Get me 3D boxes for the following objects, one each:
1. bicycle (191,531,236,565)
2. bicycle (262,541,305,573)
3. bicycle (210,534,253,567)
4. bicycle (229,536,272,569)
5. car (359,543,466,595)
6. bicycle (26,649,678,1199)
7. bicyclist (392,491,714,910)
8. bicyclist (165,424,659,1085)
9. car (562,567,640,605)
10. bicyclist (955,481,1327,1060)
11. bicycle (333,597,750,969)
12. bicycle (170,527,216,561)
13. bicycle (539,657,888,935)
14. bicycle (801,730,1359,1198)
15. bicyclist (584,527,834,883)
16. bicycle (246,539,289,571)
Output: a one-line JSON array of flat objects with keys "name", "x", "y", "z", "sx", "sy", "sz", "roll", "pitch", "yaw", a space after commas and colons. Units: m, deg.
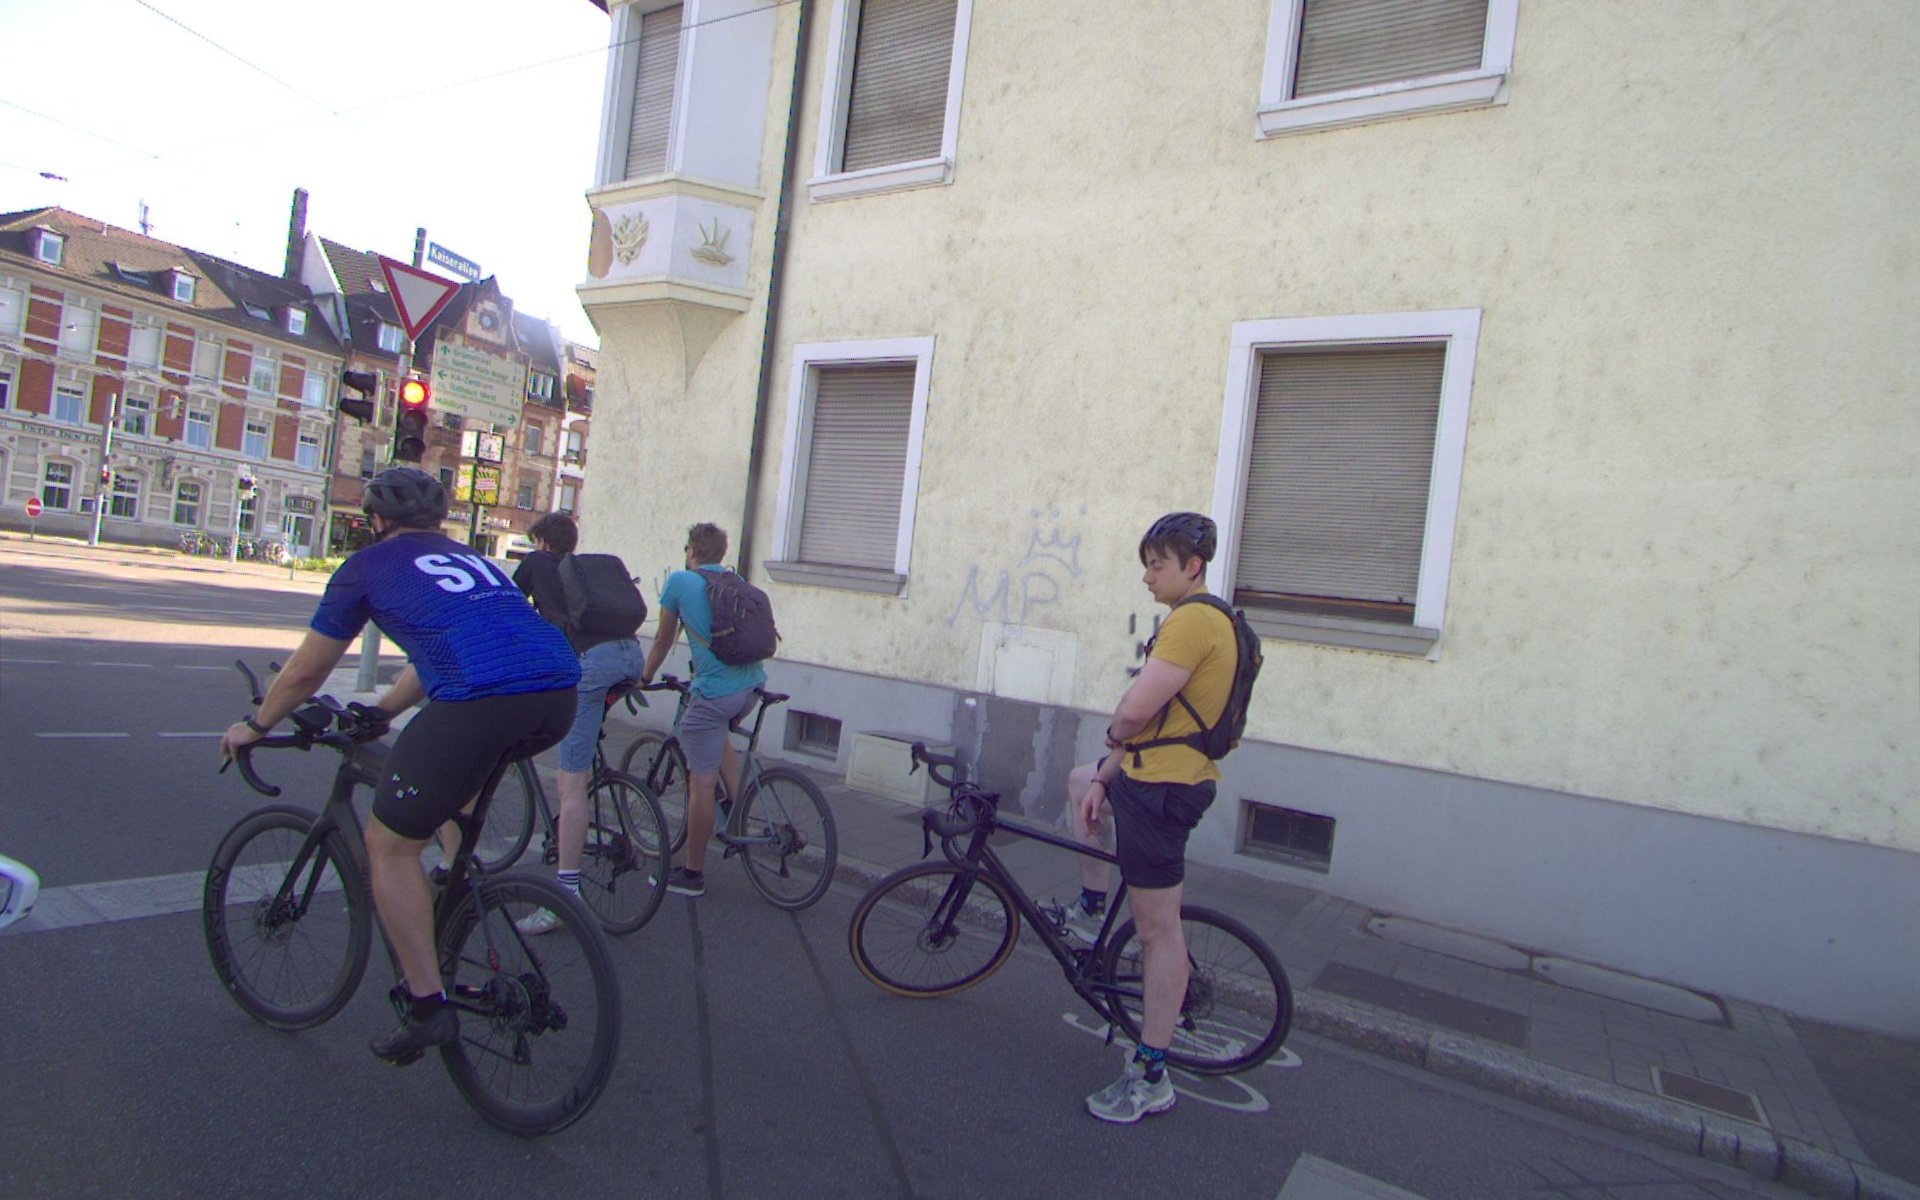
[{"name": "bicycle", "x": -34.197, "y": -2.391, "z": 46.073, "sx": 2.618, "sy": 1.301, "sz": 0.693, "roll": 6, "pitch": -1, "yaw": 33}, {"name": "bicycle", "x": -32.678, "y": -2.085, "z": 48.589, "sx": 2.618, "sy": 1.301, "sz": 0.629, "roll": 6, "pitch": -1, "yaw": 33}, {"name": "bicycle", "x": -33.831, "y": -2.321, "z": 46.698, "sx": 2.618, "sy": 1.301, "sz": 0.629, "roll": 6, "pitch": -1, "yaw": 33}, {"name": "bicycle", "x": -33.415, "y": -2.230, "z": 47.370, "sx": 2.618, "sy": 1.301, "sz": 0.629, "roll": 6, "pitch": -1, "yaw": 33}, {"name": "car", "x": -25.465, "y": -1.435, "z": 46.913, "sx": 1.967, "sy": 1.798, "sz": 3.790, "roll": 6, "pitch": -2, "yaw": 31}, {"name": "bicycle", "x": -1.754, "y": 0.804, "z": 2.894, "sx": 1.671, "sy": 1.097, "sz": 0.628, "roll": 7, "pitch": -1, "yaw": 22}, {"name": "bicyclist", "x": -1.809, "y": 0.409, "z": 4.526, "sx": 0.868, "sy": 1.625, "sz": 0.807, "roll": 7, "pitch": -1, "yaw": 30}, {"name": "bicyclist", "x": -1.511, "y": 0.360, "z": 2.830, "sx": 0.867, "sy": 1.512, "sz": 0.641, "roll": 9, "pitch": 0, "yaw": 22}, {"name": "car", "x": -23.243, "y": -0.884, "z": 65.293, "sx": 1.967, "sy": 1.798, "sz": 4.374, "roll": 6, "pitch": -2, "yaw": 31}, {"name": "bicyclist", "x": 0.658, "y": 0.511, "z": 3.528, "sx": 0.869, "sy": 1.682, "sz": 0.807, "roll": 6, "pitch": -1, "yaw": 32}, {"name": "bicycle", "x": -1.905, "y": 0.724, "z": 4.535, "sx": 1.674, "sy": 1.251, "sz": 0.756, "roll": 6, "pitch": -1, "yaw": 30}, {"name": "bicycle", "x": -34.597, "y": -2.536, "z": 45.369, "sx": 2.618, "sy": 1.301, "sz": 0.693, "roll": 6, "pitch": -1, "yaw": 33}, {"name": "bicycle", "x": -1.322, "y": 0.941, "z": 5.264, "sx": 1.742, "sy": 1.043, "sz": 0.650, "roll": 6, "pitch": -1, "yaw": 33}, {"name": "bicycle", "x": 0.393, "y": 1.130, "z": 3.639, "sx": 1.751, "sy": 1.043, "sz": 0.756, "roll": 6, "pitch": -2, "yaw": 33}, {"name": "bicyclist", "x": -1.312, "y": 0.515, "z": 5.285, "sx": 0.869, "sy": 1.652, "sz": 0.690, "roll": 6, "pitch": -1, "yaw": 34}, {"name": "bicycle", "x": -33.048, "y": -2.165, "z": 48.000, "sx": 2.618, "sy": 1.301, "sz": 0.629, "roll": 6, "pitch": -1, "yaw": 33}]
